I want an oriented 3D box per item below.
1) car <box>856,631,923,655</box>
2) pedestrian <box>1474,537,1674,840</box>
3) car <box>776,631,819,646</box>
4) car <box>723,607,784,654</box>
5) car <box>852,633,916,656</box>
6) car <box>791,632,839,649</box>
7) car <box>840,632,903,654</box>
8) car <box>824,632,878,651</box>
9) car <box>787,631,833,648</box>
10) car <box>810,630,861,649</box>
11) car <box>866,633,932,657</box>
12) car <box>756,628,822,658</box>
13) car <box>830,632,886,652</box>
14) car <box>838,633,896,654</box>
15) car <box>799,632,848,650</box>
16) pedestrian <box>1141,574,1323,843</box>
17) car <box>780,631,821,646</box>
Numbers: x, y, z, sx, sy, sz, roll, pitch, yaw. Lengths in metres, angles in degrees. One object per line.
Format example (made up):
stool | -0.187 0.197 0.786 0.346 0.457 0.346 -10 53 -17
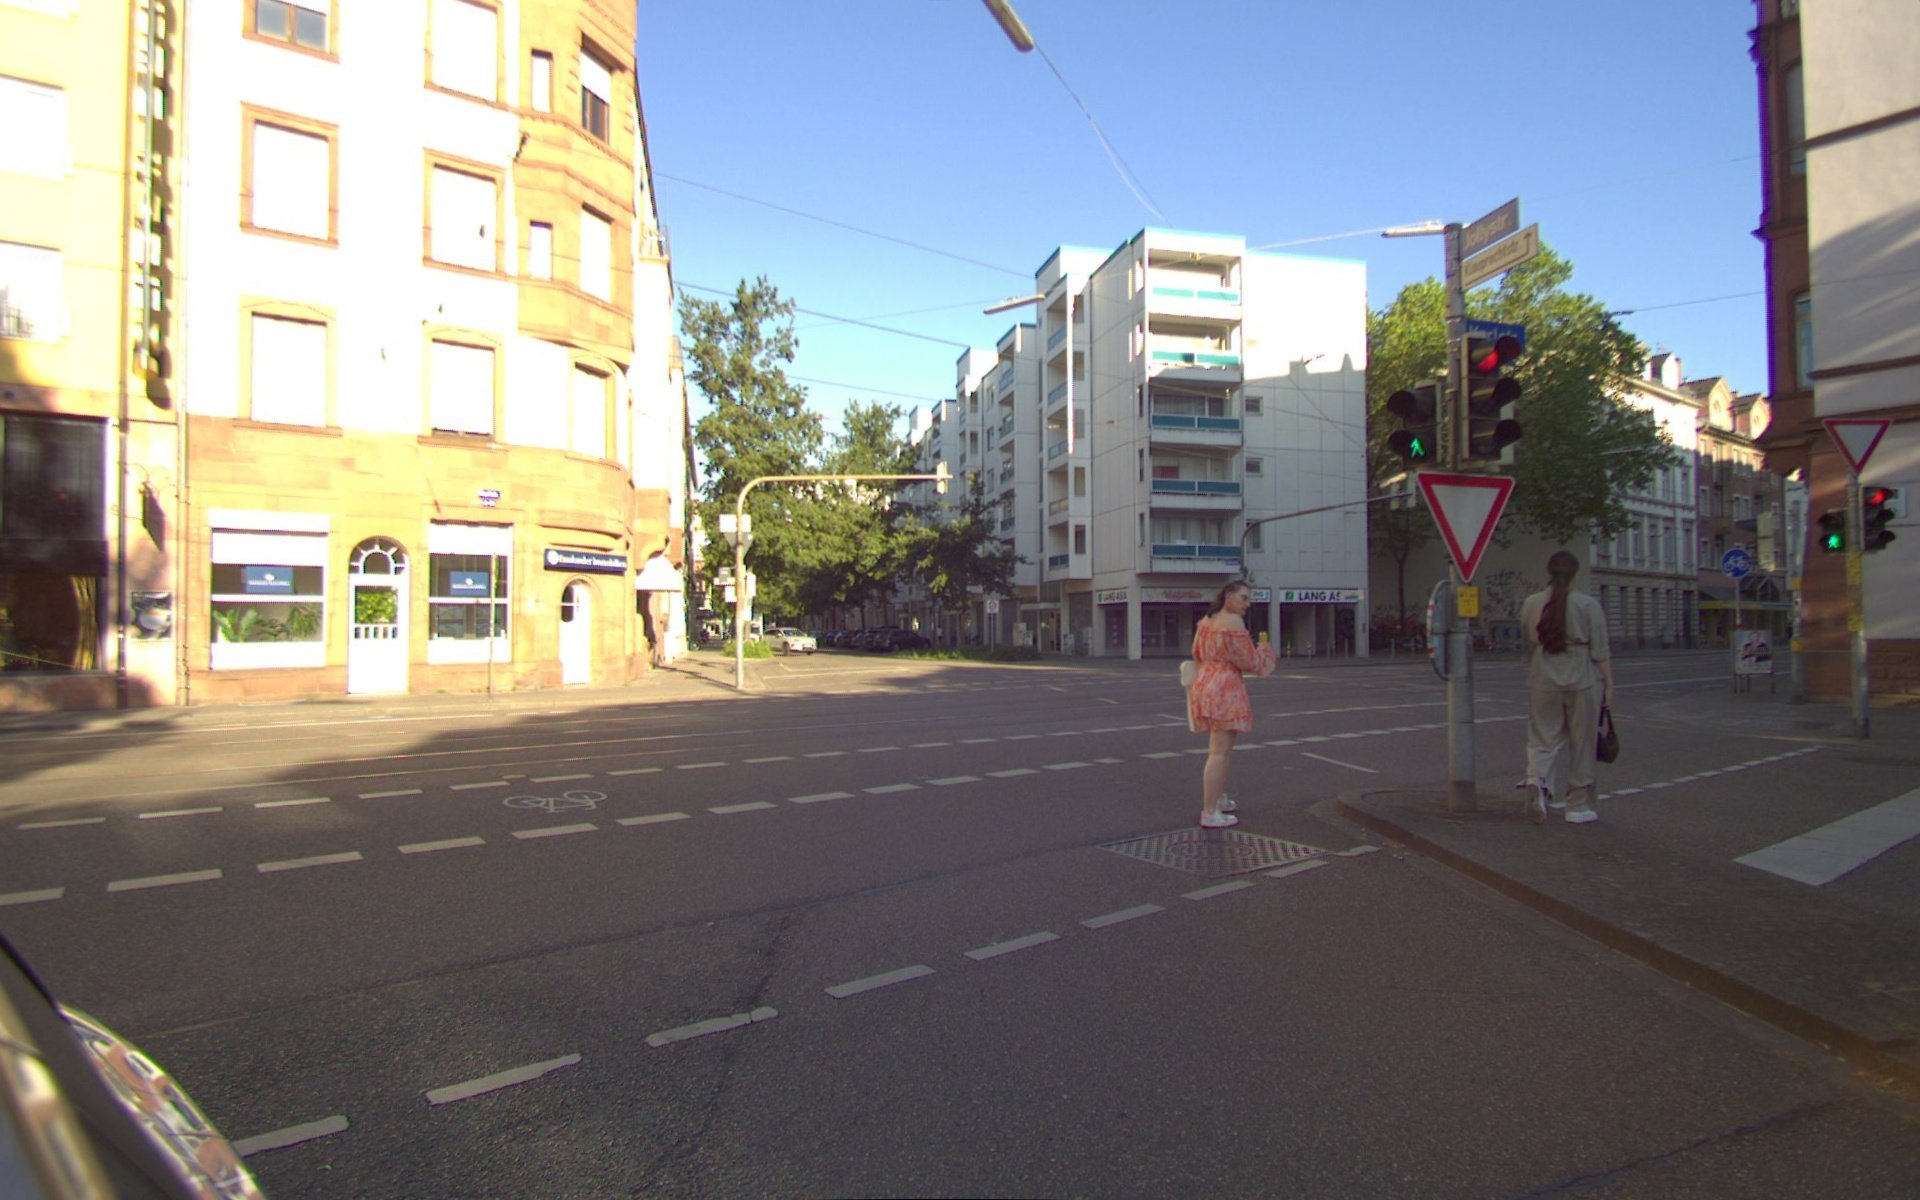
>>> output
car | -4.875 2.971 70.279 4.230 1.597 2.006 0 -2 -21
pedestrian | 3.881 0.518 6.392 0.870 1.710 0.970 -2 -3 43
car | -17.260 4.099 107.537 4.230 1.597 2.006 0 -2 -20
car | -14.931 2.208 72.782 3.269 3.203 8.108 0 -2 -19
car | -5.471 3.164 72.803 4.230 1.597 2.006 0 -2 -21
car | -14.062 3.865 97.950 4.230 1.597 2.006 0 -2 -20
car | -6.590 3.180 74.985 4.230 1.597 2.006 0 -2 -21
car | -9.296 3.507 86.519 4.230 1.597 2.006 0 -2 -20
car | -14.902 3.907 100.676 4.230 1.597 2.006 0 -2 -20
car | -11.238 3.541 91.037 4.230 1.597 2.006 0 -2 -20
car | -4.101 2.992 67.792 3.930 1.597 2.006 0 -2 -21
car | -10.432 2.611 61.623 4.001 1.763 1.971 -2 -3 44
car | -8.493 3.489 84.235 4.230 1.597 2.006 0 -2 -20
car | -7.475 3.464 81.097 4.230 1.597 2.006 0 -2 -20
car | -12.822 3.817 94.737 4.230 1.597 2.006 0 -2 -20
pedestrian | 1.915 0.710 7.115 0.870 1.710 0.970 -2 -3 43
car | -17.782 4.297 112.617 4.230 1.597 2.006 0 -2 -20
